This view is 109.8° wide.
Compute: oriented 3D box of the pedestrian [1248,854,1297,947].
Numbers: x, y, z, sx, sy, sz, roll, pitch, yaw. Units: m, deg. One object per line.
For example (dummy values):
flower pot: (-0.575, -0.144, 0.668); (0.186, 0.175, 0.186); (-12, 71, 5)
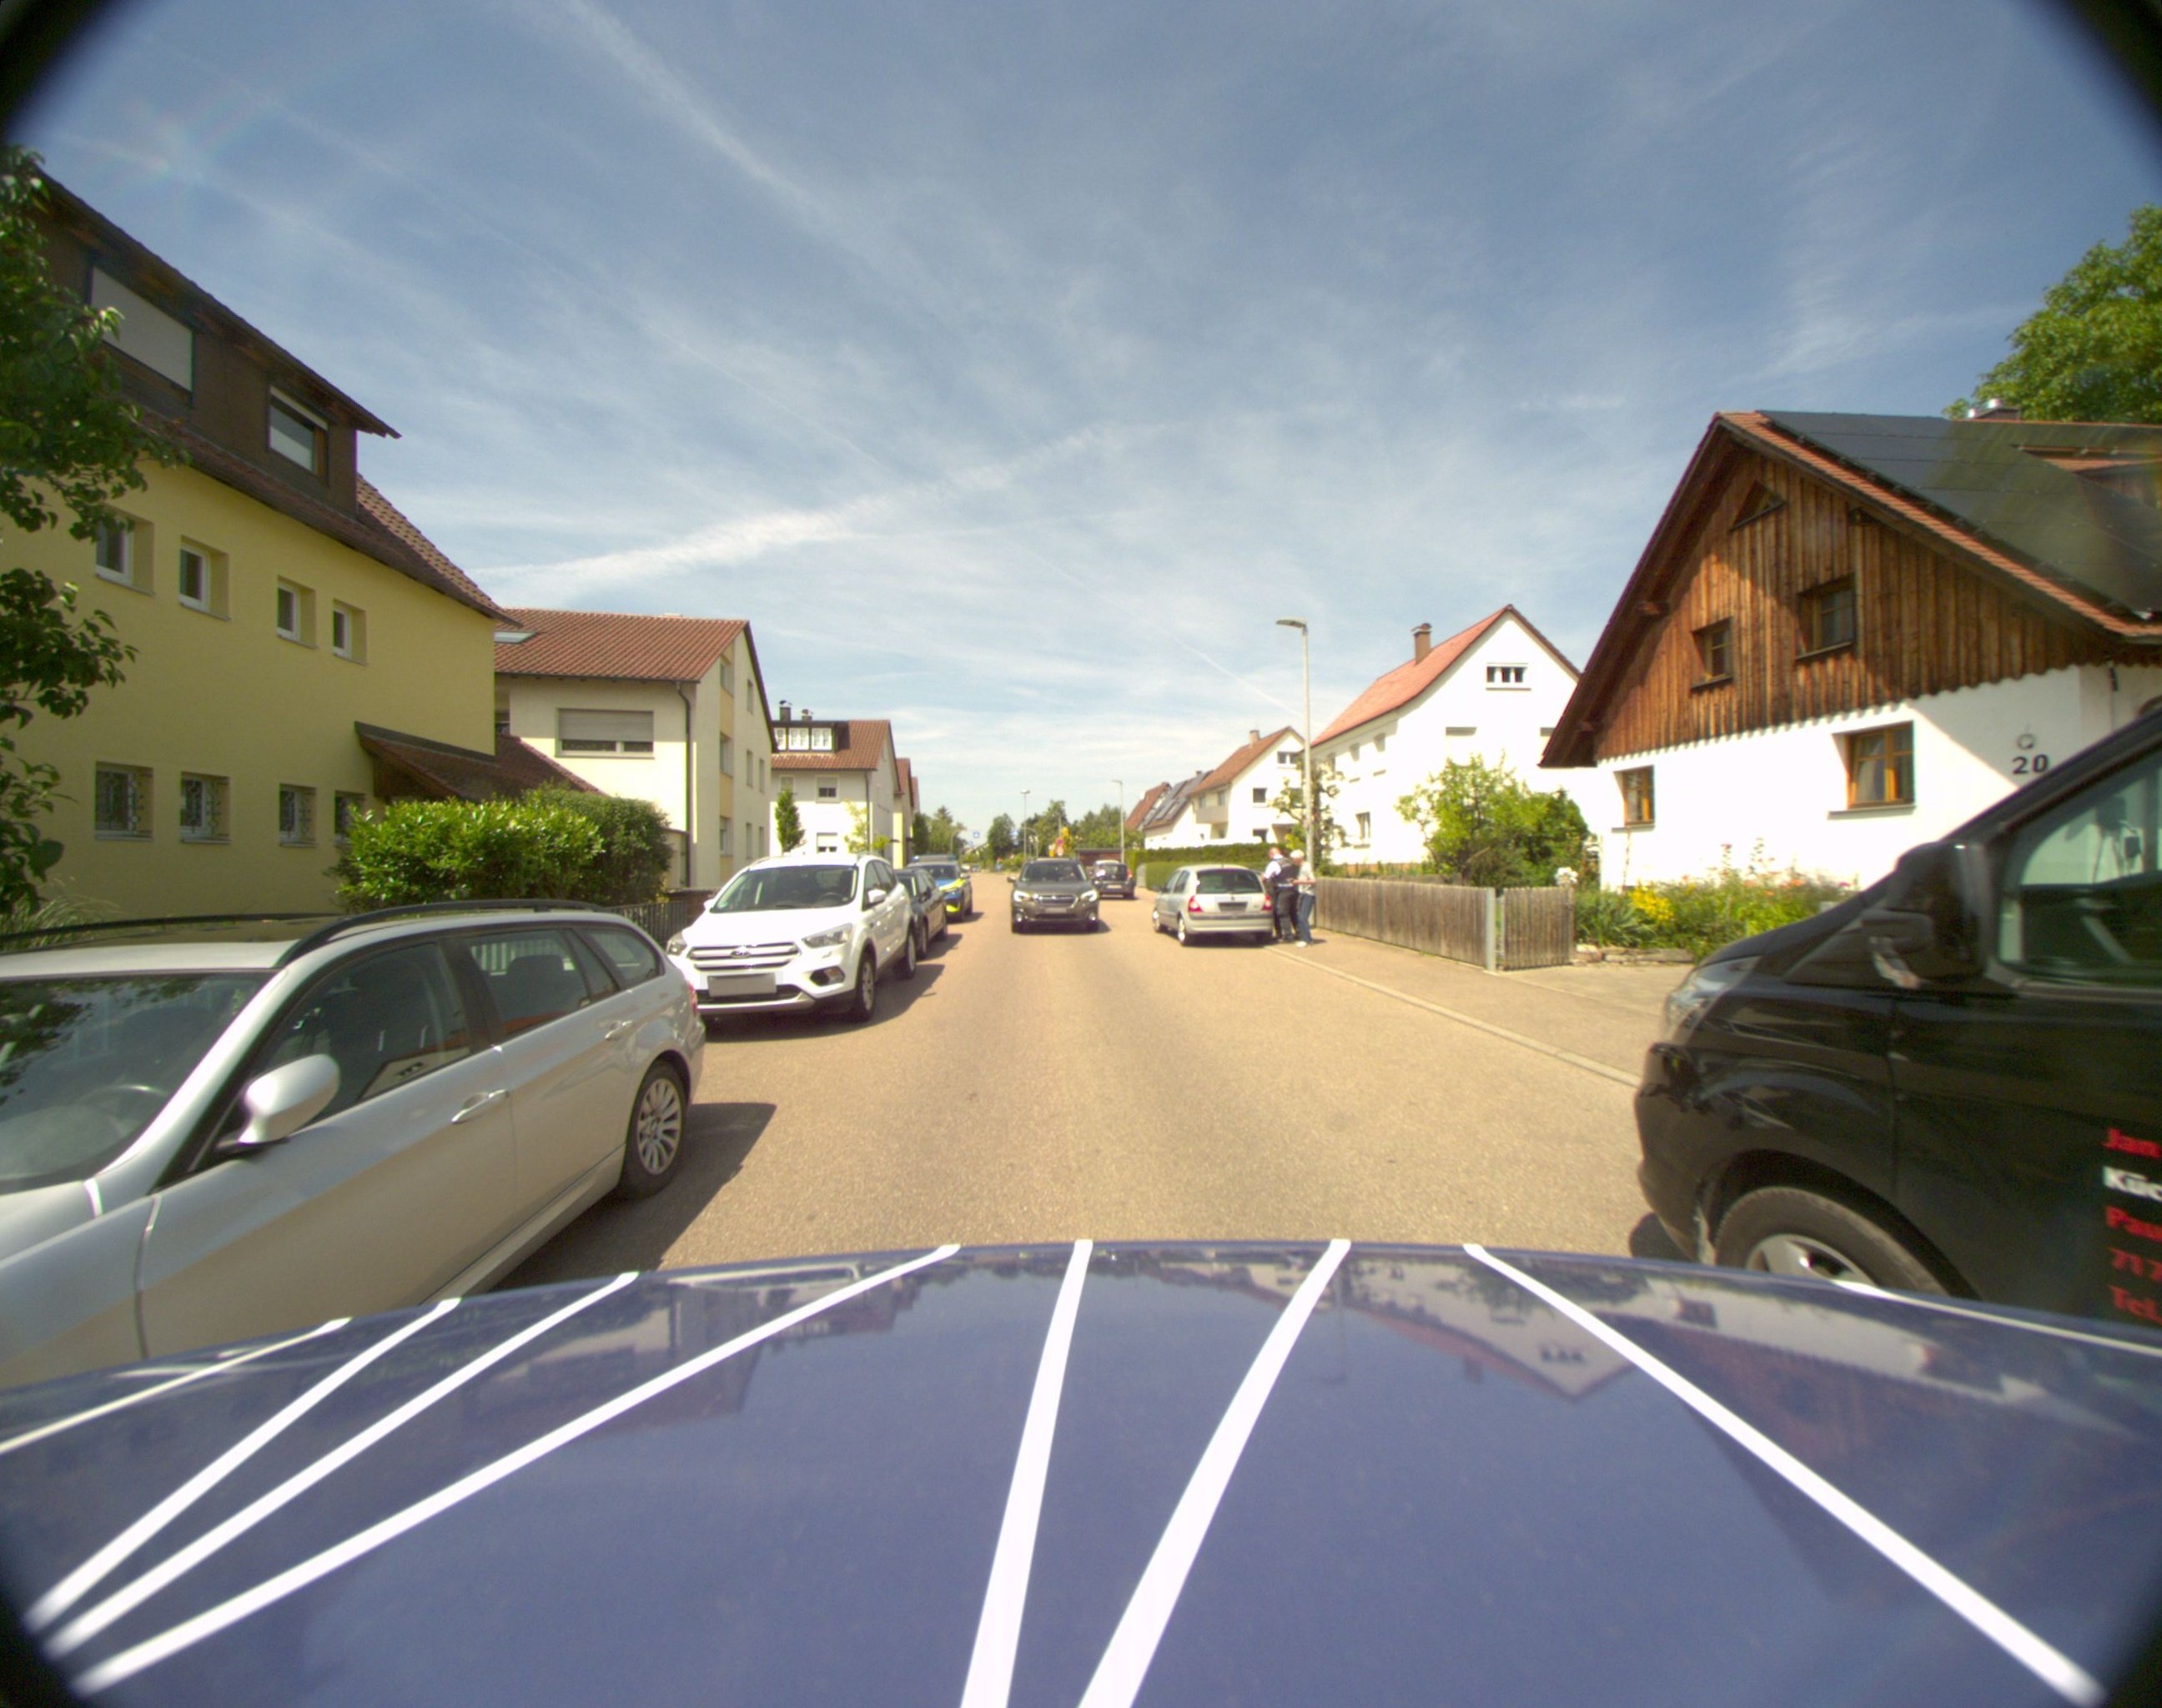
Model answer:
pedestrian: (3.509, 0.834, 13.921); (0.640, 1.633, 0.590); (-3, 1, -3)

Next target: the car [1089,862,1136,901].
car: (1.218, 1.052, 30.673); (1.602, 1.450, 3.659); (-1, 0, -2)

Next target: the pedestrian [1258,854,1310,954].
pedestrian: (3.545, 0.861, 13.309); (0.640, 1.672, 0.590); (-3, 1, -3)

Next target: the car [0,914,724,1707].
car: (-2.800, 1.088, 2.085); (1.756, 1.412, 4.419); (-3, 0, -4)

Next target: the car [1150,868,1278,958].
car: (2.385, 1.015, 14.344); (1.586, 1.434, 3.264); (0, 0, -5)

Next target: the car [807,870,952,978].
car: (-3.388, 1.101, 13.581); (1.628, 1.460, 4.371); (-2, 0, -4)

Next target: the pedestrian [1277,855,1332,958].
pedestrian: (3.696, 0.844, 12.594); (0.640, 1.633, 0.599); (-3, 1, -3)

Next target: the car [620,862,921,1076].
car: (-3.019, 0.969, 8.468); (1.741, 1.652, 4.335); (-2, 0, -4)

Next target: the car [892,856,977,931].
car: (-3.828, 0.968, 20.466); (1.670, 1.739, 4.054); (-2, 0, -4)

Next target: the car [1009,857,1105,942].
car: (-0.641, 0.903, 17.157); (1.839, 1.637, 4.321); (-2, 0, -5)
